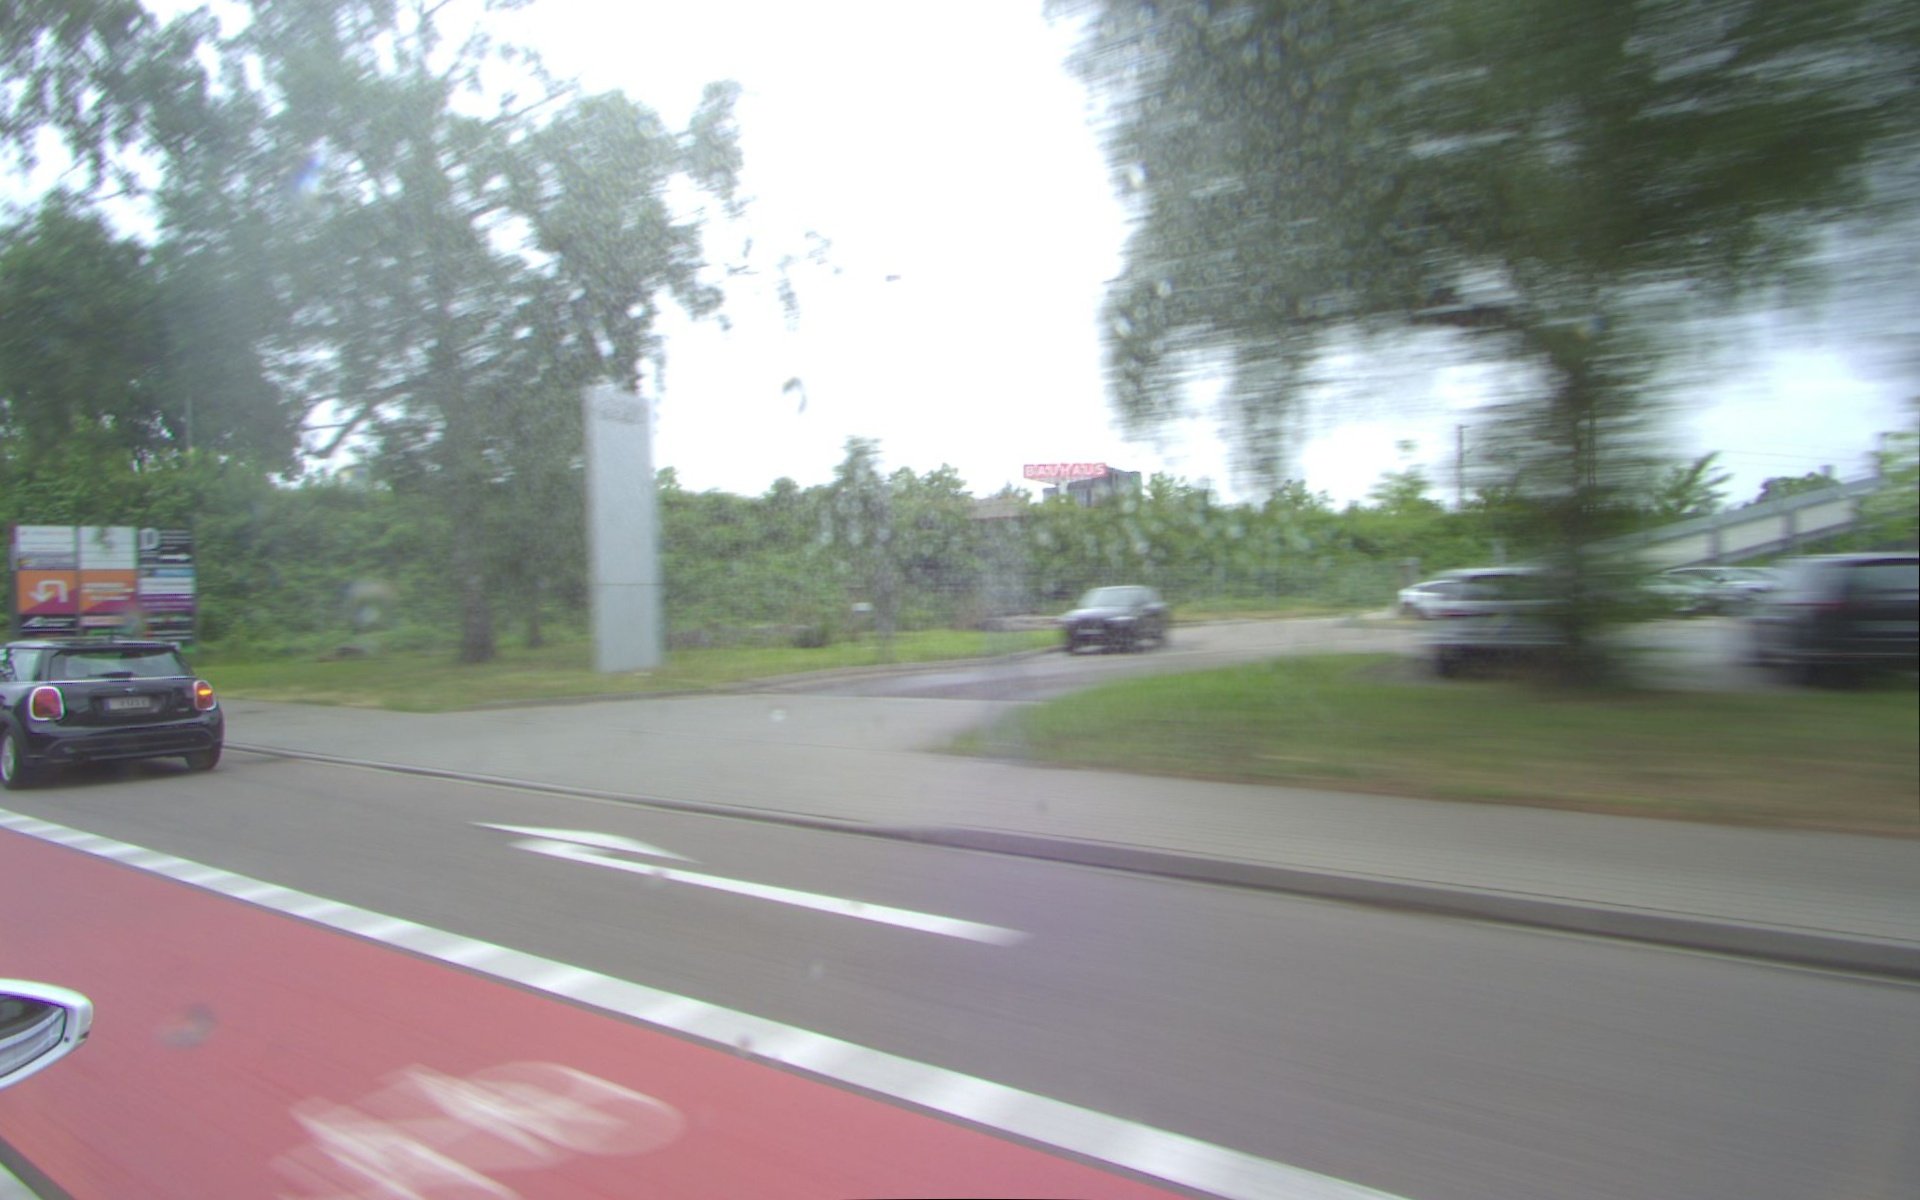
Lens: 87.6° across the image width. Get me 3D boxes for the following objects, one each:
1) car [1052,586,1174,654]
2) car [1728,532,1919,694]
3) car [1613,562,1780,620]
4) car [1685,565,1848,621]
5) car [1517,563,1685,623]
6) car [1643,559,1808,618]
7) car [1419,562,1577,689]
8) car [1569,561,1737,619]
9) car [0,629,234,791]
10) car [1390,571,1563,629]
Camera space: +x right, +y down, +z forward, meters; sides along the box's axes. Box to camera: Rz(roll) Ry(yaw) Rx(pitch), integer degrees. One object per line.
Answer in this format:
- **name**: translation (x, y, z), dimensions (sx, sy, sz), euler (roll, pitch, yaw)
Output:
- **car**: translation (4.122, 0.474, 26.382), dimensions (1.938, 1.610, 4.295), euler (-1, 0, 26)
- **car**: translation (10.695, 0.231, 11.888), dimensions (1.940, 1.621, 4.294), euler (0, -3, 30)
- **car**: translation (25.394, -0.242, 34.715), dimensions (1.937, 1.756, 4.300), euler (2, -3, -23)
- **car**: translation (29.741, -0.182, 37.078), dimensions (1.937, 1.827, 4.300), euler (2, -3, -23)
- **car**: translation (20.736, -0.147, 32.611), dimensions (1.937, 1.711, 4.300), euler (2, -3, -23)
- **car**: translation (27.250, -0.350, 35.822), dimensions (1.937, 1.827, 4.300), euler (2, -3, -23)
- **car**: translation (7.534, 0.341, 14.208), dimensions (1.712, 1.509, 4.296), euler (0, -1, 27)
- **car**: translation (23.166, -0.259, 33.671), dimensions (1.937, 1.682, 4.300), euler (2, -3, -23)
- **car**: translation (-9.599, 1.044, 10.838), dimensions (3.722, 1.450, 1.675), euler (-1, -1, 34)
- **car**: translation (16.054, 0.083, 31.397), dimensions (1.875, 1.586, 4.659), euler (2, -3, -25)
